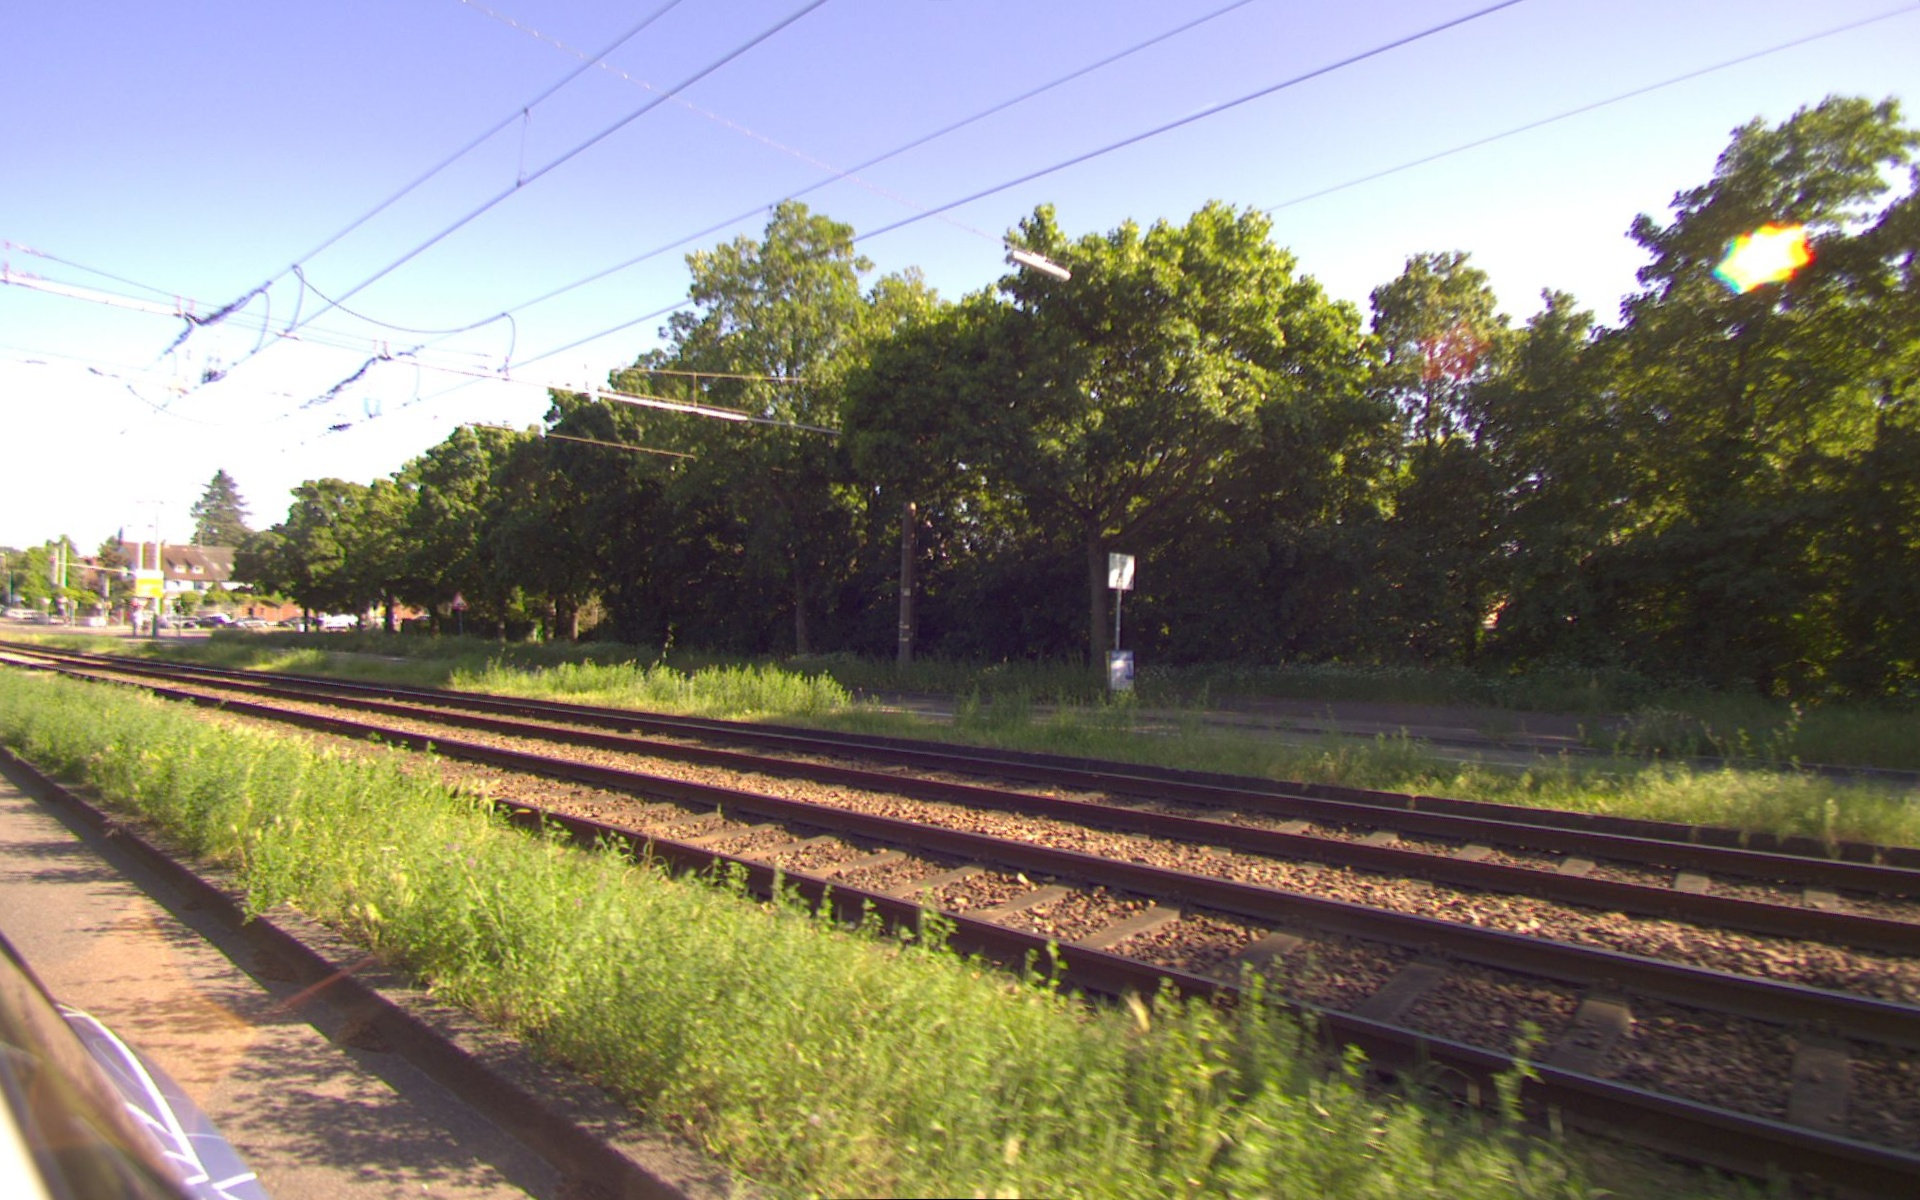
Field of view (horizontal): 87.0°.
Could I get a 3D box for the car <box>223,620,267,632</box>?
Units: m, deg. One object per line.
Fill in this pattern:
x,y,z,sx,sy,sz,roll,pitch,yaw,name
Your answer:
-88.602,3.184,125.443,1.920,1.477,4.238,0,-1,15,car

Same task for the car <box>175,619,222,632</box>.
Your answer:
-90.434,3.041,120.211,1.920,1.477,4.228,0,-1,15,car

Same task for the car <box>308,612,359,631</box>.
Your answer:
-84.840,2.939,137.127,2.162,2.429,5.888,1,-1,17,car
